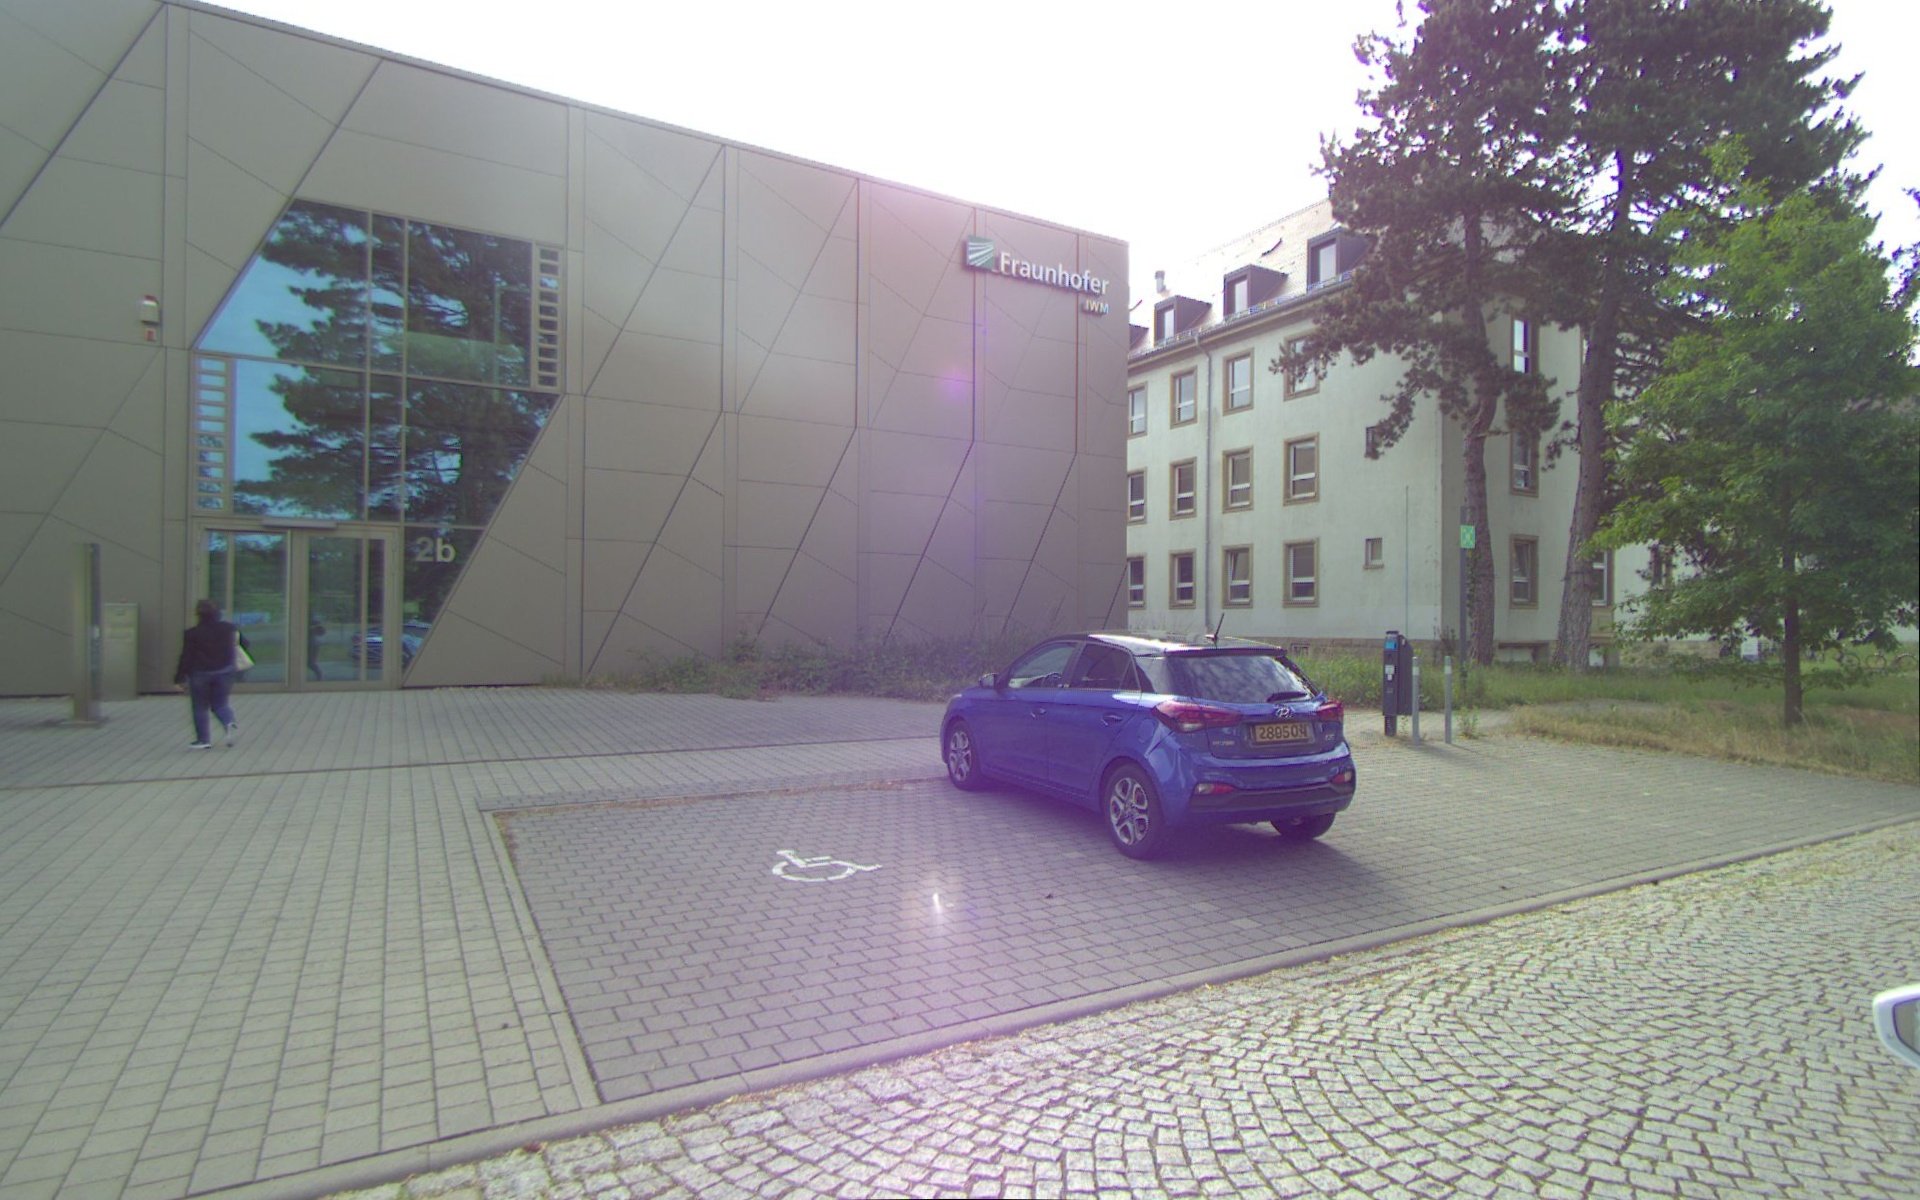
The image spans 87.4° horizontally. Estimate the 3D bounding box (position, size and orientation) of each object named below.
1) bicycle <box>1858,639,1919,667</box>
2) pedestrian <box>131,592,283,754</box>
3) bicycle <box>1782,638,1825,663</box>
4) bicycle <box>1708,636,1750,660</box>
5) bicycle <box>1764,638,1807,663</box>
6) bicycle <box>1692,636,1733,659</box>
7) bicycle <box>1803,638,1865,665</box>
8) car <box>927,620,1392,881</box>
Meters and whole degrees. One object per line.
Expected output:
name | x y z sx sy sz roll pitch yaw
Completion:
bicycle | 38.076 2.146 41.069 0.821 1.090 1.849 1 -2 -27
pedestrian | -7.524 0.695 10.048 0.967 1.514 0.818 1 0 23
bicycle | 37.483 2.225 44.622 2.246 1.090 0.732 1 -1 -30
bicycle | 36.026 2.232 47.042 2.246 1.090 0.732 1 -1 -30
bicycle | 37.105 2.240 45.143 2.246 1.090 0.732 1 -1 -30
bicycle | 35.734 2.242 47.717 2.246 1.090 0.732 1 -1 -30
bicycle | 37.134 2.166 42.697 0.729 1.090 1.849 1 -2 -27
car | 1.343 0.973 8.230 1.828 1.497 3.752 1 0 -27
